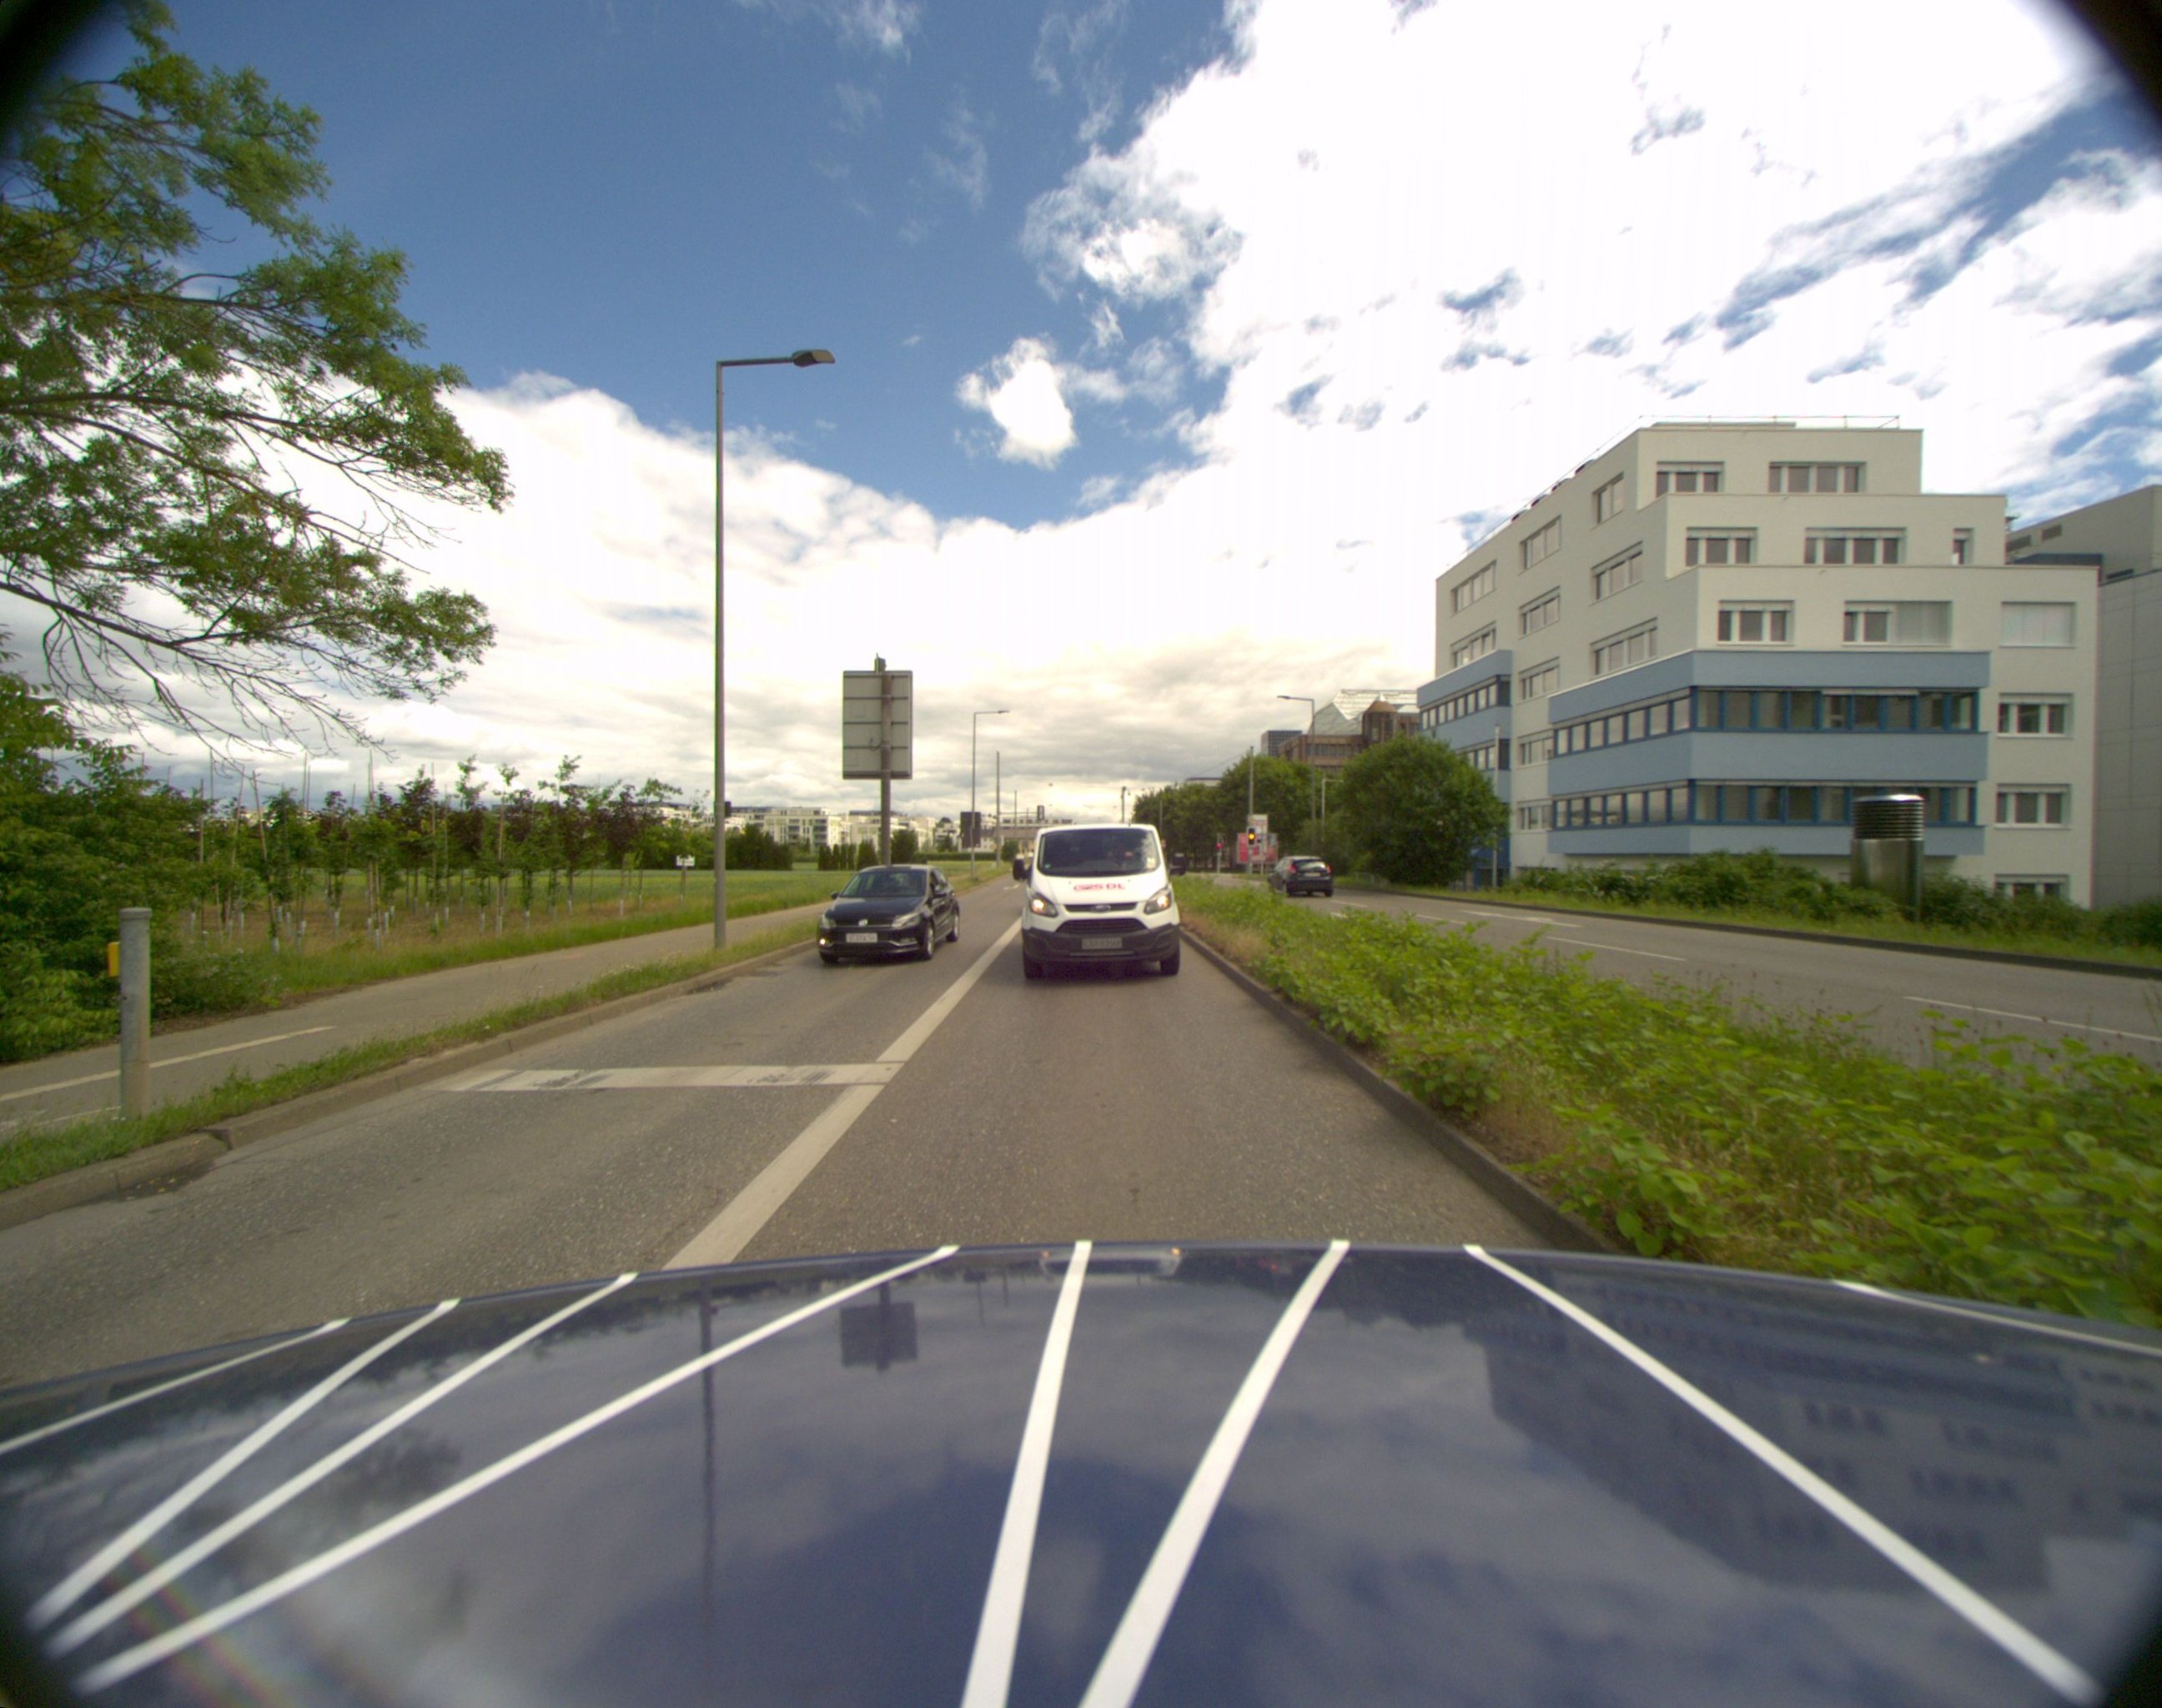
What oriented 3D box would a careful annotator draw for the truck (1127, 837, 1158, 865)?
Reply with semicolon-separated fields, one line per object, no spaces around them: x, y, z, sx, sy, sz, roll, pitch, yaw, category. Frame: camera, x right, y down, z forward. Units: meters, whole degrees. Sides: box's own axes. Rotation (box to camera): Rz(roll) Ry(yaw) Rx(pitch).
7.876;-0.429;99.160;3.176;3.498;9.524;0;1;-1;truck

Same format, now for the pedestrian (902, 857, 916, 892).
-8.604;1.006;37.964;0.492;1.693;0.626;-2;1;-1;pedestrian

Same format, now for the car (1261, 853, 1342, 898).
8.045;0.746;28.058;1.759;1.438;3.891;-2;1;-1;car

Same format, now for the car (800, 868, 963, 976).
-3.114;1.002;12.626;1.682;1.410;3.739;-1;1;0;car

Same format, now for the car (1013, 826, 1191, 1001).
0.260;0.667;11.121;1.968;1.938;5.055;-1;0;0;car
